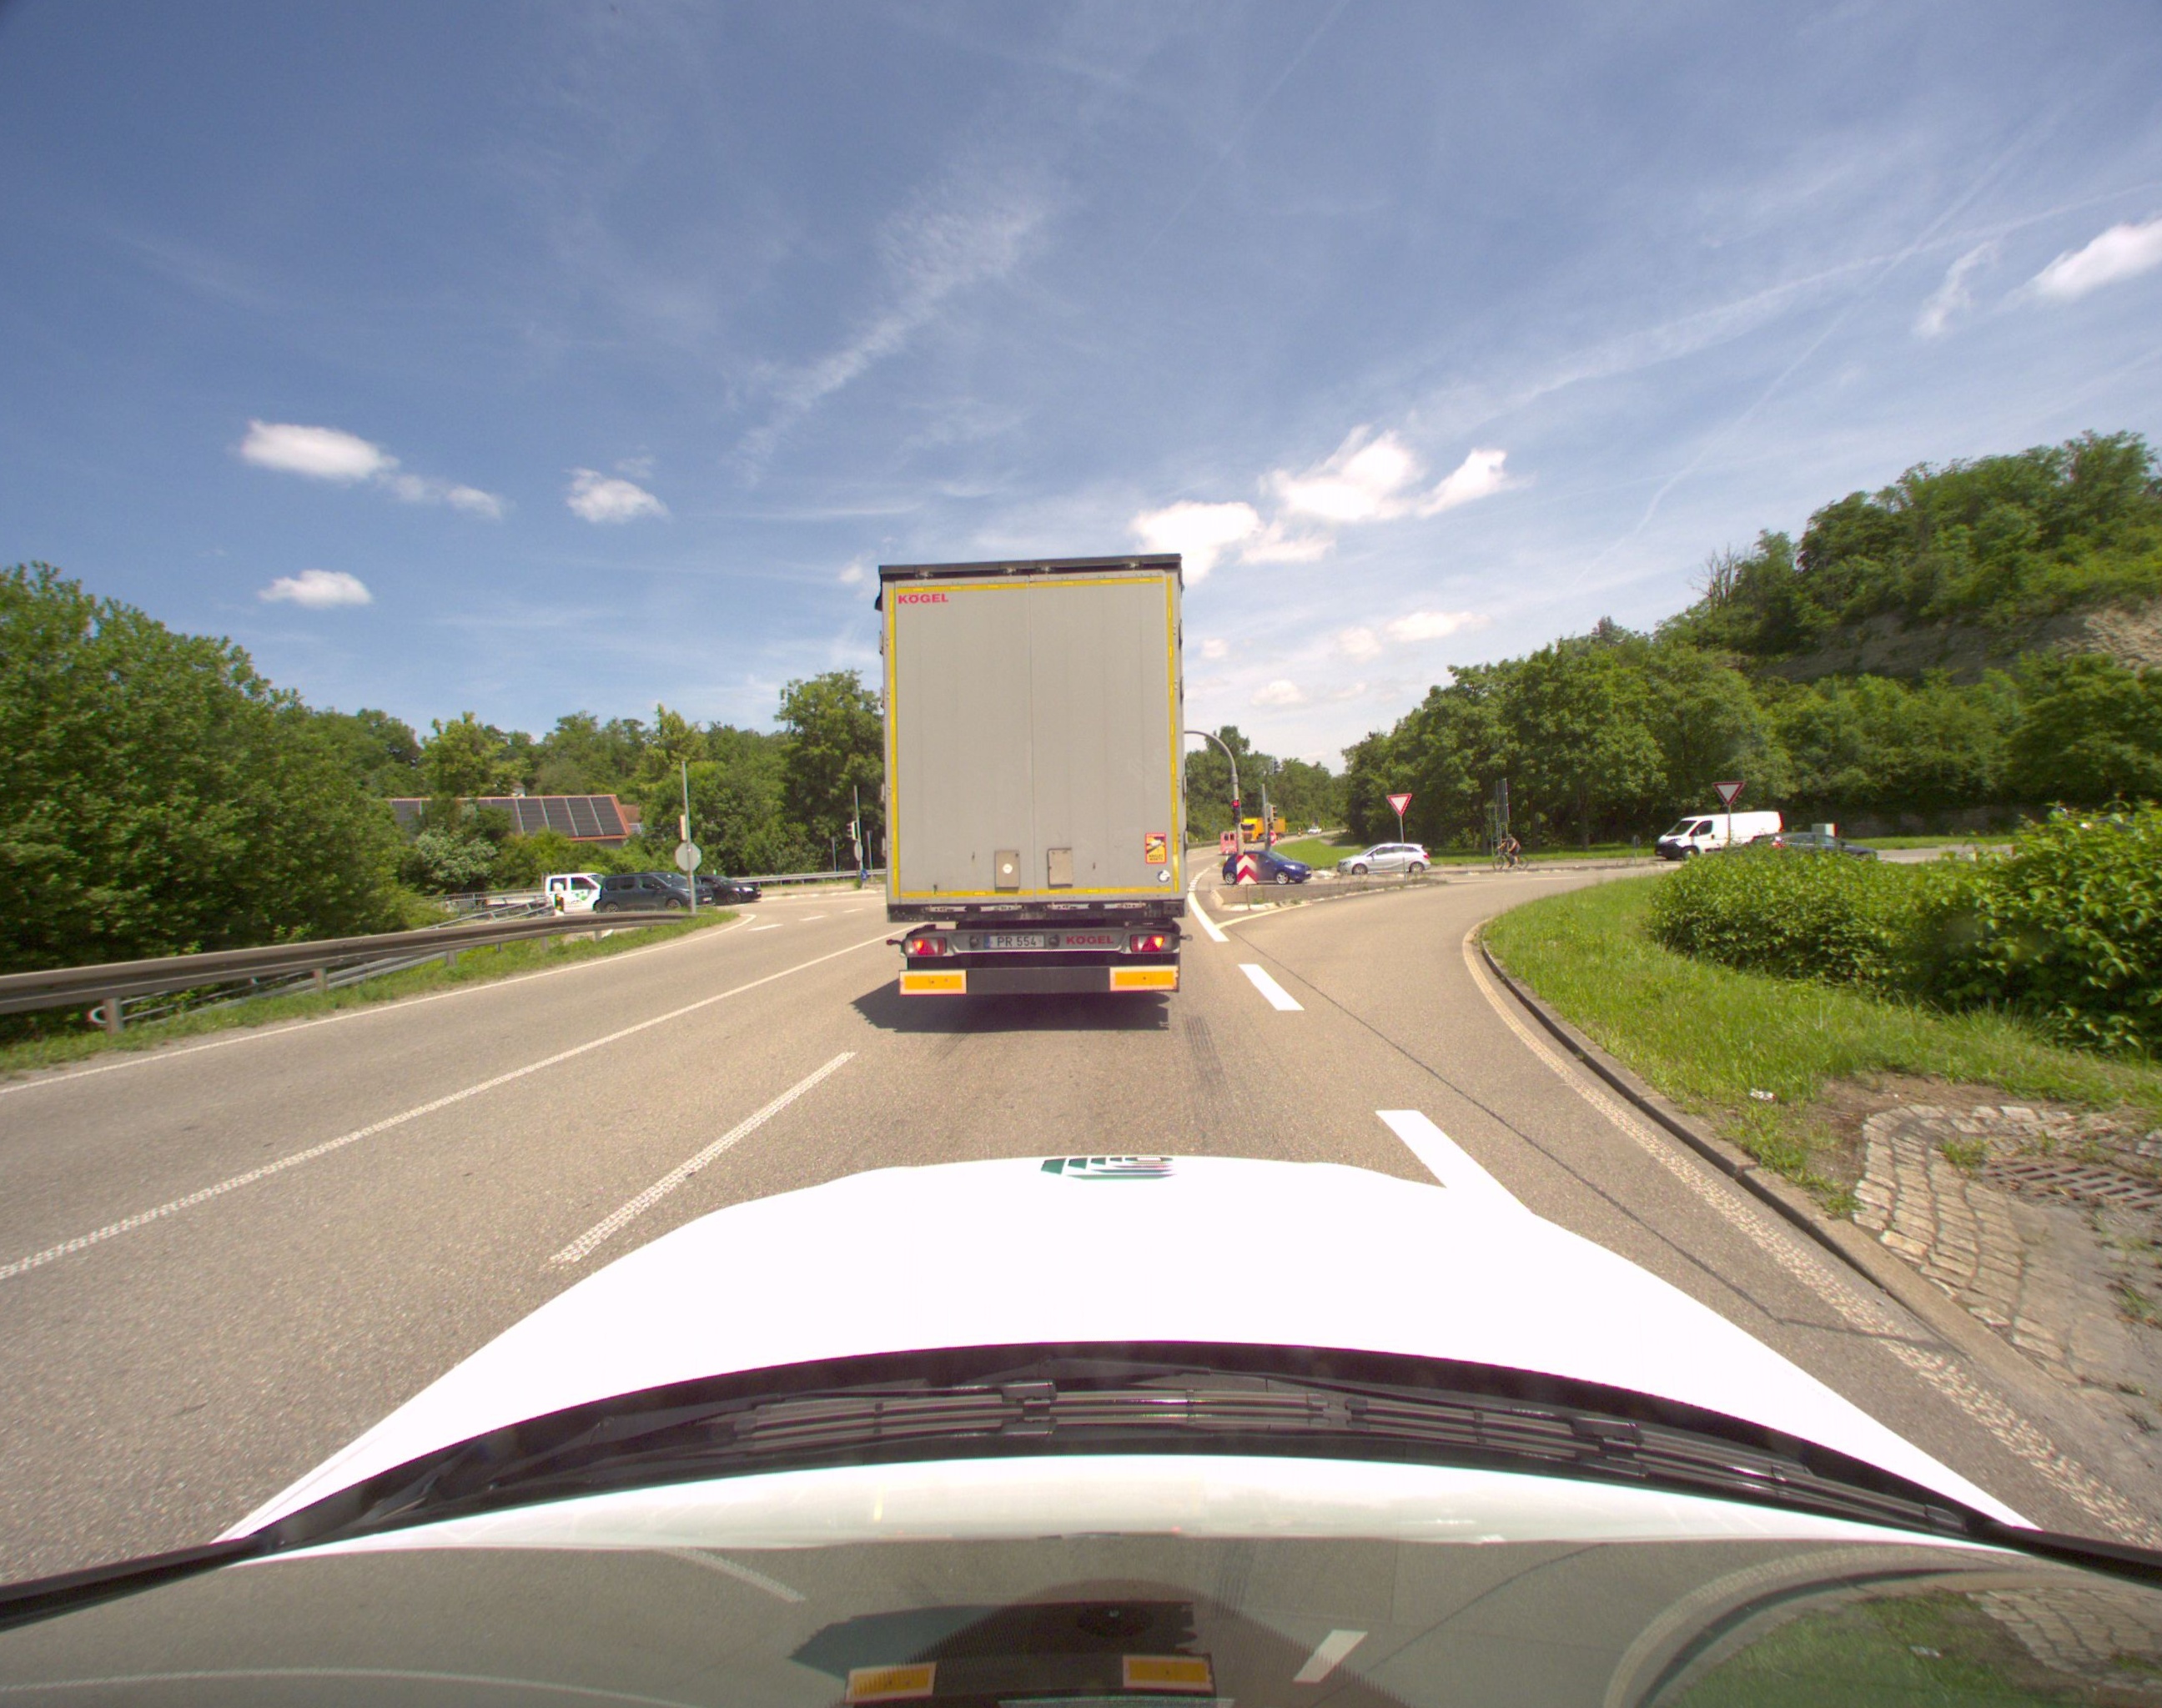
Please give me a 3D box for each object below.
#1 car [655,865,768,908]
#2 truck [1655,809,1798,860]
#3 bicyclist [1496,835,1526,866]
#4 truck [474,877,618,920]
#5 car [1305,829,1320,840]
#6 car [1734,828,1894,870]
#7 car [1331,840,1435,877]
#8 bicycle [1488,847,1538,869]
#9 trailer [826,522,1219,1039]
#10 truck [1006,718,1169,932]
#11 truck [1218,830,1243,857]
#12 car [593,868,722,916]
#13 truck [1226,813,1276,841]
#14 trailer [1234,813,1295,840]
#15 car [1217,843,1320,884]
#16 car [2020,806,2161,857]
[{"bbox_3d":[-16.733,1.457,36.976,4.206,1.770,2.006,-2,-1,11],"label":"car"},{"bbox_3d":[31.854,-0.927,40.365,5.108,2.296,2.007,-1,-2,14],"label":"truck"},{"bbox_3d":[20.919,-0.160,39.603,1.002,1.448,0.795,-1,-2,-1],"label":"bicyclist"},{"bbox_3d":[-23.568,1.948,36.087,4.877,1.791,2.036,0,-2,-11],"label":"truck"},{"bbox_3d":[47.688,-3.953,167.630,1.975,2.013,4.025,-2,2,28],"label":"car"},{"bbox_3d":[27.934,-0.158,31.162,4.227,1.491,2.001,-1,-2,2],"label":"car"},{"bbox_3d":[14.718,0.245,39.921,4.405,1.718,2.003,-1,-2,6],"label":"car"},{"bbox_3d":[20.997,0.210,39.594,1.983,0.995,0.797,-1,-2,-1],"label":"bicycle"},{"bbox_3d":[-0.073,-0.563,12.775,3.038,4.034,12.571,-2,0,4],"label":"trailer"},{"bbox_3d":[0.344,-0.549,19.025,3.025,4.034,6.636,-2,0,4],"label":"truck"},{"bbox_3d":[17.274,-1.150,93.952,2.476,2.728,6.052,-1,-2,14],"label":"truck"},{"bbox_3d":[-17.032,1.512,32.847,4.206,1.770,2.006,-2,-1,11],"label":"car"},{"bbox_3d":[28.829,-4.535,137.160,4.964,4.362,11.838,-2,1,28],"label":"truck"},{"bbox_3d":[32.838,-4.811,144.690,4.964,4.362,20.967,-2,1,28],"label":"trailer"},{"bbox_3d":[7.967,0.439,34.774,3.809,1.613,1.892,-3,-3,43],"label":"car"},{"bbox_3d":[39.459,-0.837,31.046,4.909,1.785,2.000,-1,-2,1],"label":"car"}]
